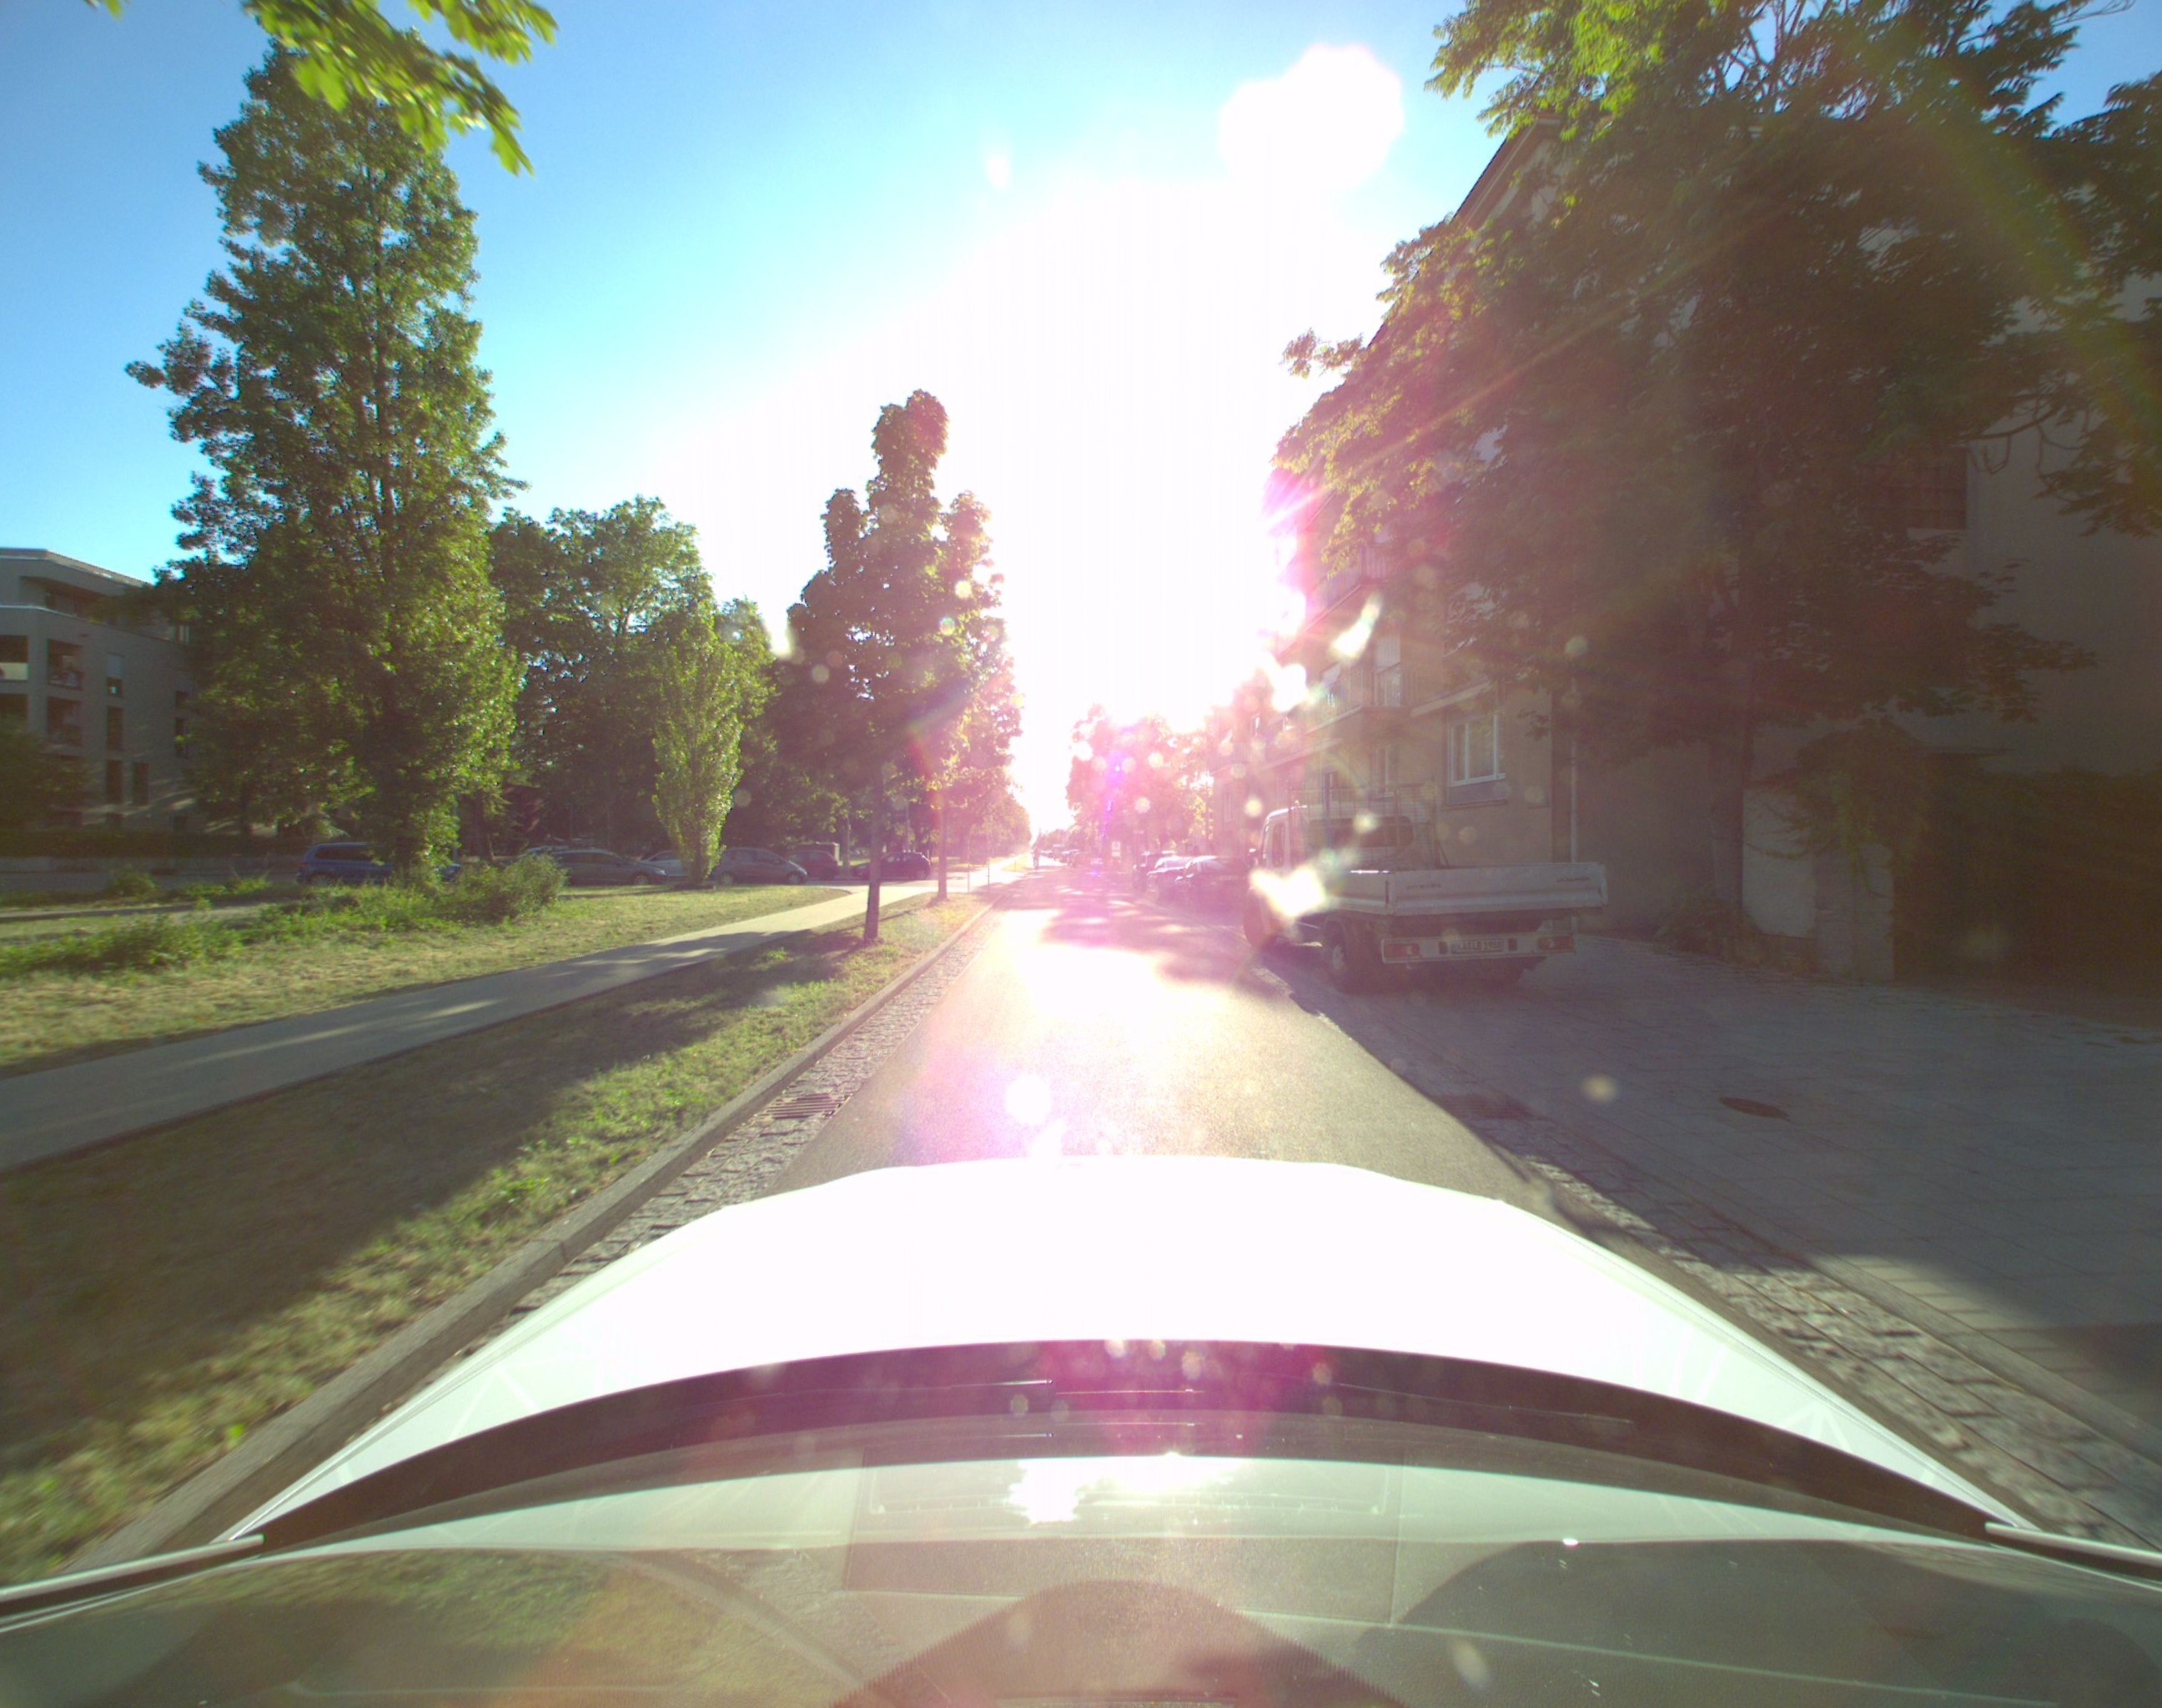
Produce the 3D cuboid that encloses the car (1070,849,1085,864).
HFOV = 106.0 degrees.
[{"bbox_3d":[-0.399,0.267,99.911,1.788,1.724,3.998,0,0,-1],"label":"car"}]

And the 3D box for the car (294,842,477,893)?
[{"bbox_3d":[-24.335,0.450,28.720,4.548,1.686,1.759,0,0,-23],"label":"car"}]

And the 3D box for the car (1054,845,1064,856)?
[{"bbox_3d":[-4.026,-0.617,152.067,1.788,1.999,3.998,0,0,-1],"label":"car"}]

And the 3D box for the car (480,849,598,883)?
[{"bbox_3d":[-23.549,0.512,35.544,4.004,1.420,1.758,0,0,-23],"label":"car"}]

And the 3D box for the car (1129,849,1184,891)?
[{"bbox_3d":[2.979,0.587,32.856,1.686,1.565,4.100,-1,0,-3],"label":"car"}]

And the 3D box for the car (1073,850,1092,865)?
[{"bbox_3d":[0.186,0.378,85.775,1.787,1.510,4.002,0,0,2],"label":"car"}]

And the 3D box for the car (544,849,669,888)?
[{"bbox_3d":[-18.176,0.518,31.400,4.007,1.420,1.757,0,0,-26],"label":"car"}]

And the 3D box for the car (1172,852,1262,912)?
[{"bbox_3d":[3.537,0.671,21.753,1.686,1.440,3.547,-1,0,-3],"label":"car"}]

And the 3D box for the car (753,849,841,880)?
[{"bbox_3d":[-13.963,0.498,40.005,3.932,1.420,1.757,0,0,-25],"label":"car"}]

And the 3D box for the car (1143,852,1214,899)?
[{"bbox_3d":[3.177,0.657,27.266,1.686,1.440,4.100,-1,0,-3],"label":"car"}]

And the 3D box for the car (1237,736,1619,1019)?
[{"bbox_3d":[3.797,0.192,10.577,2.205,2.530,6.145,-2,0,-1],"label":"car"}]

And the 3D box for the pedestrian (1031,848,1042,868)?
[{"bbox_3d":[-3.254,0.297,59.911,0.686,1.434,1.025,0,0,2],"label":"pedestrian"}]

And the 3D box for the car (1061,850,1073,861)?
[{"bbox_3d":[-2.073,0.187,122.226,1.788,1.510,3.998,0,0,-1],"label":"car"}]

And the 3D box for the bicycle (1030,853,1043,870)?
[{"bbox_3d":[-3.263,0.561,59.819,0.686,1.202,2.344,0,0,2],"label":"bicycle"}]

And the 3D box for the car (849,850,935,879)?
[{"bbox_3d":[-9.731,0.538,41.969,4.010,1.420,1.755,0,0,-29],"label":"car"}]

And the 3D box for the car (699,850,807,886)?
[{"bbox_3d":[-13.548,0.558,33.676,4.009,1.420,1.756,0,0,-28],"label":"car"}]

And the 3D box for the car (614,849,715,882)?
[{"bbox_3d":[-19.110,0.514,37.588,4.004,1.420,1.758,0,0,-23],"label":"car"}]
